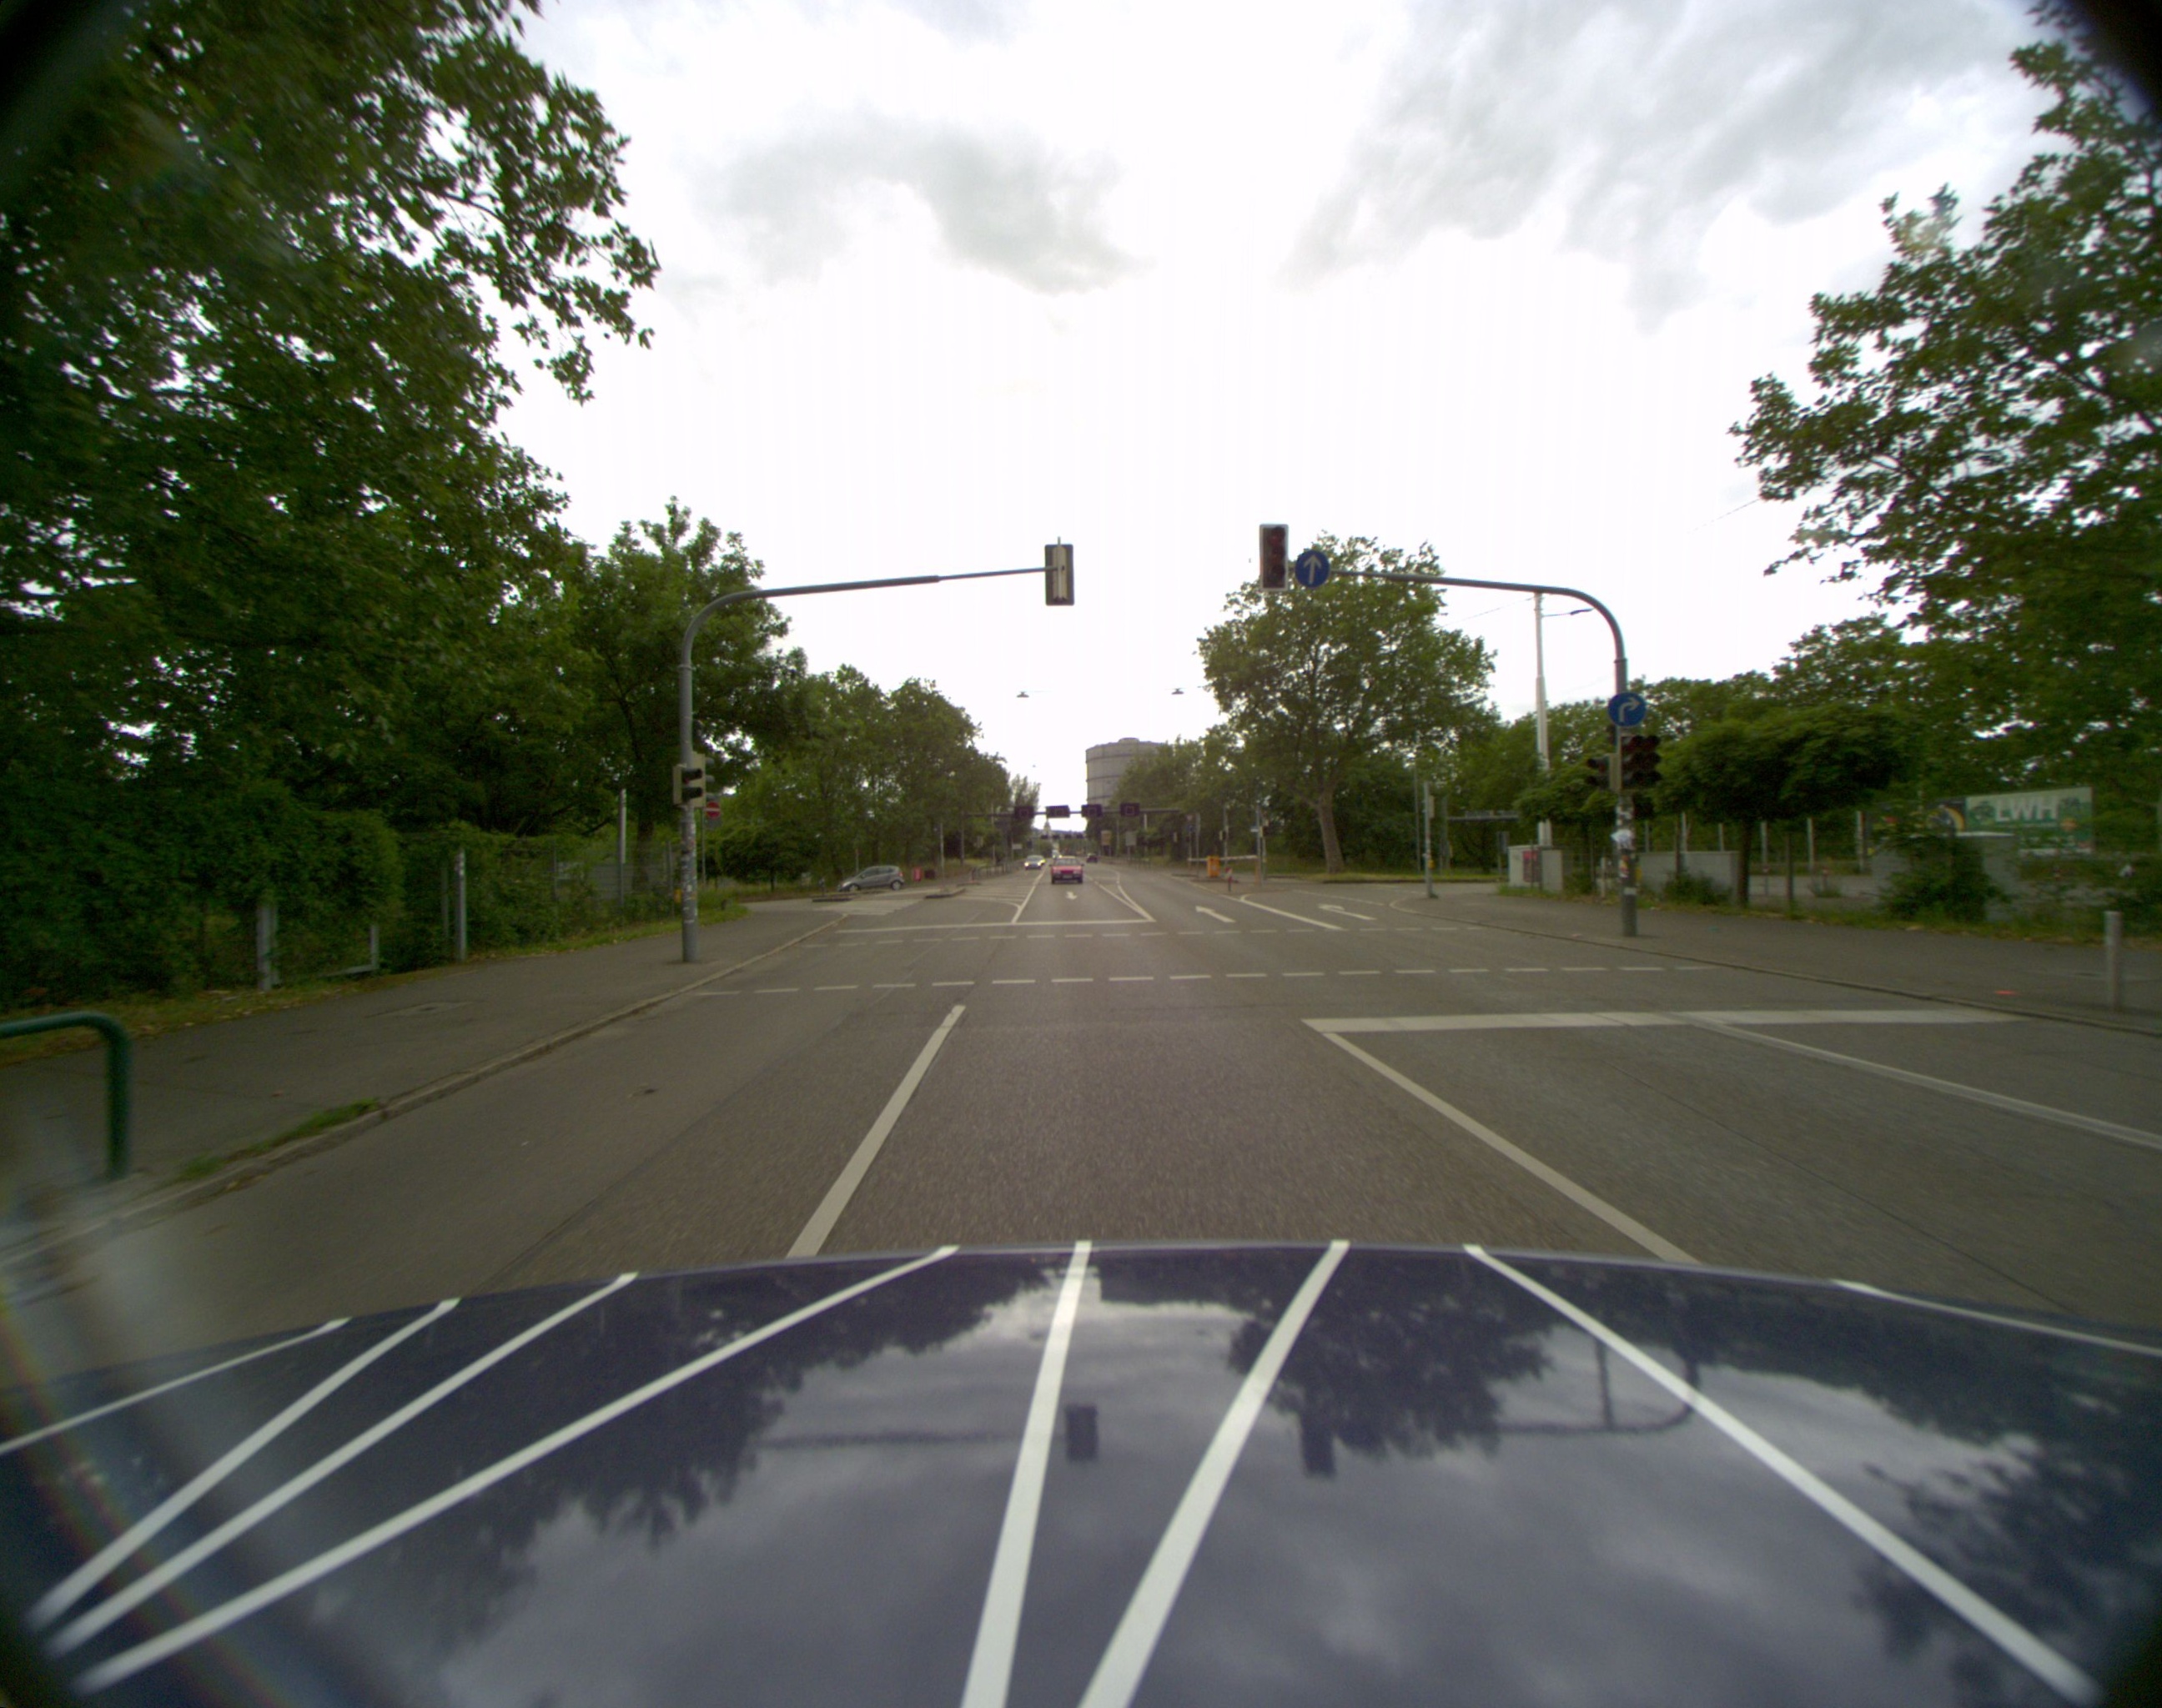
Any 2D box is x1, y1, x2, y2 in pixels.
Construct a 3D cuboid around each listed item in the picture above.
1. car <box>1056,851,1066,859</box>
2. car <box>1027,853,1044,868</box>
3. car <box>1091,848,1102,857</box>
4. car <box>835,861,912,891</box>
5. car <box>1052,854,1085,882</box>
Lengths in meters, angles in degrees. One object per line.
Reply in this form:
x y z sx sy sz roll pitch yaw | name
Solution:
-4.505 0.201 174.332 1.998 1.792 4.000 -3 0 1 | car
-5.161 0.741 86.217 1.771 1.565 3.999 -1 0 -2 | car
2.825 -0.278 135.894 1.998 1.650 4.517 0 0 1 | car
-12.477 1.325 45.768 4.040 1.606 1.828 -2 -1 -32 | car
-0.709 0.752 41.118 1.696 1.434 3.999 0 -1 -2 | car
